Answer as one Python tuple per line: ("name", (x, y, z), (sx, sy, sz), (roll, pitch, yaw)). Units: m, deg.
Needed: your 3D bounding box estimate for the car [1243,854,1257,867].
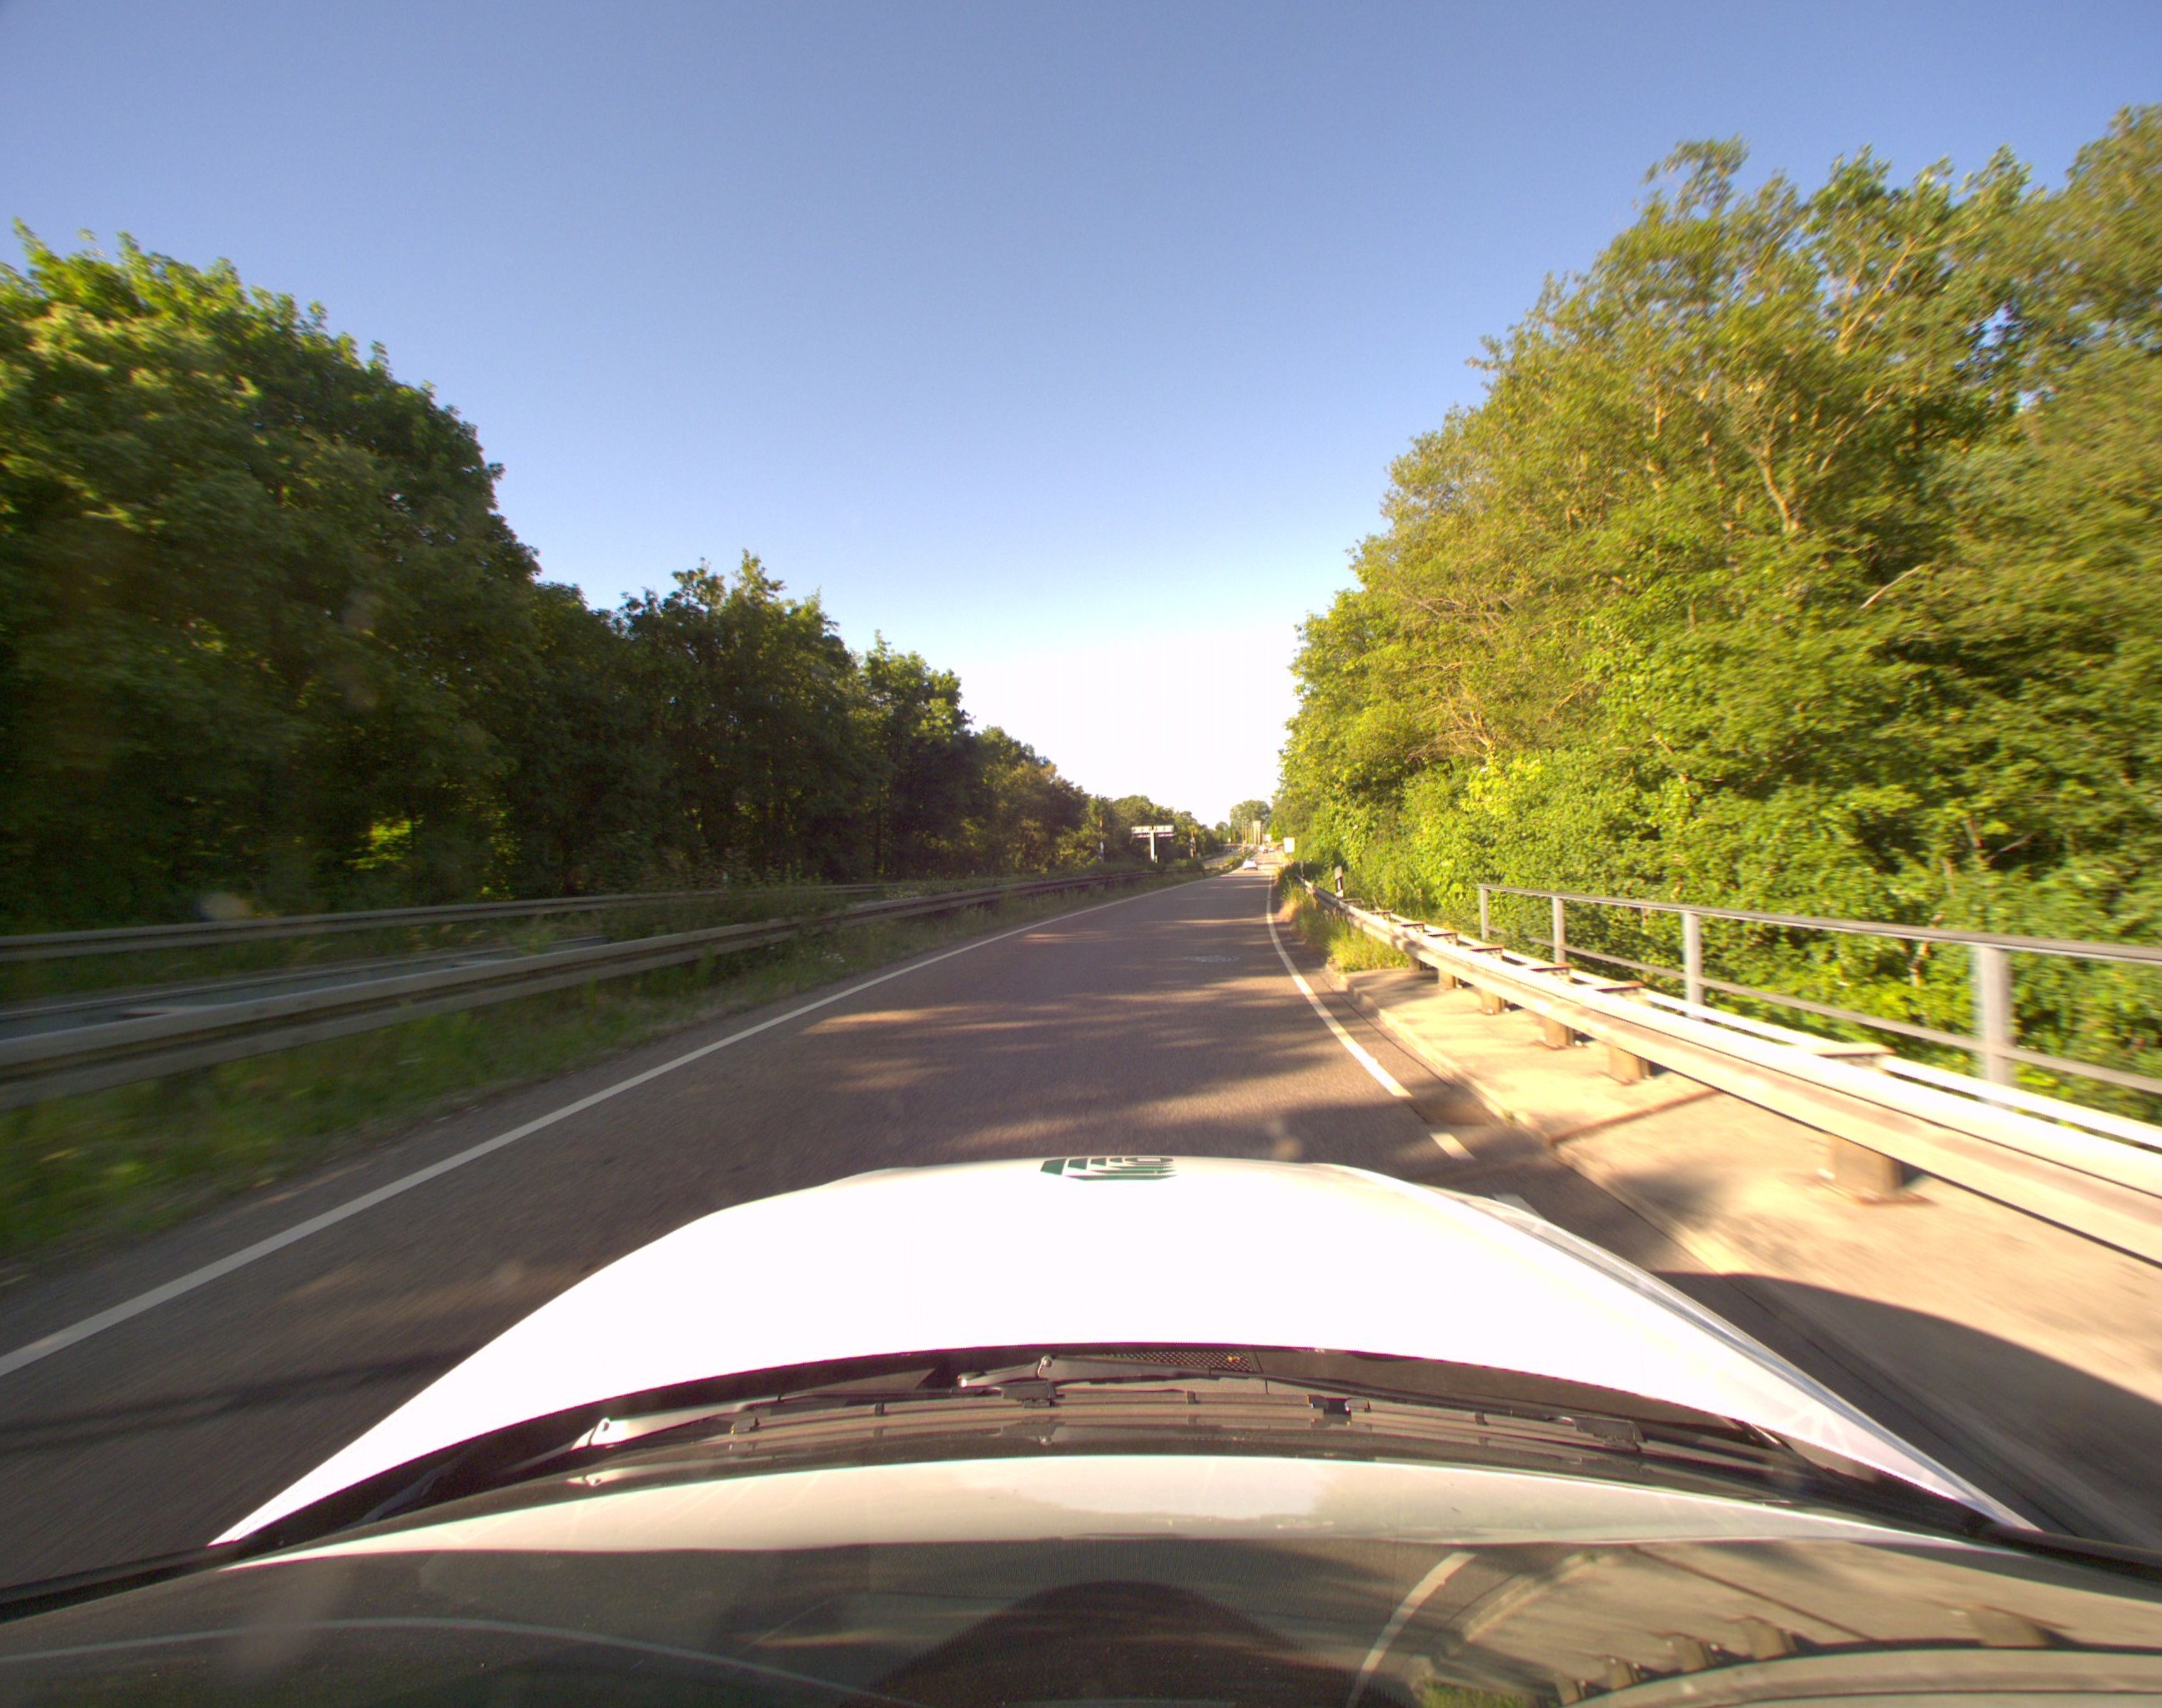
("car", (24.092, 0.924, 116.162), (1.873, 1.816, 4.011), (0, 0, 10))
